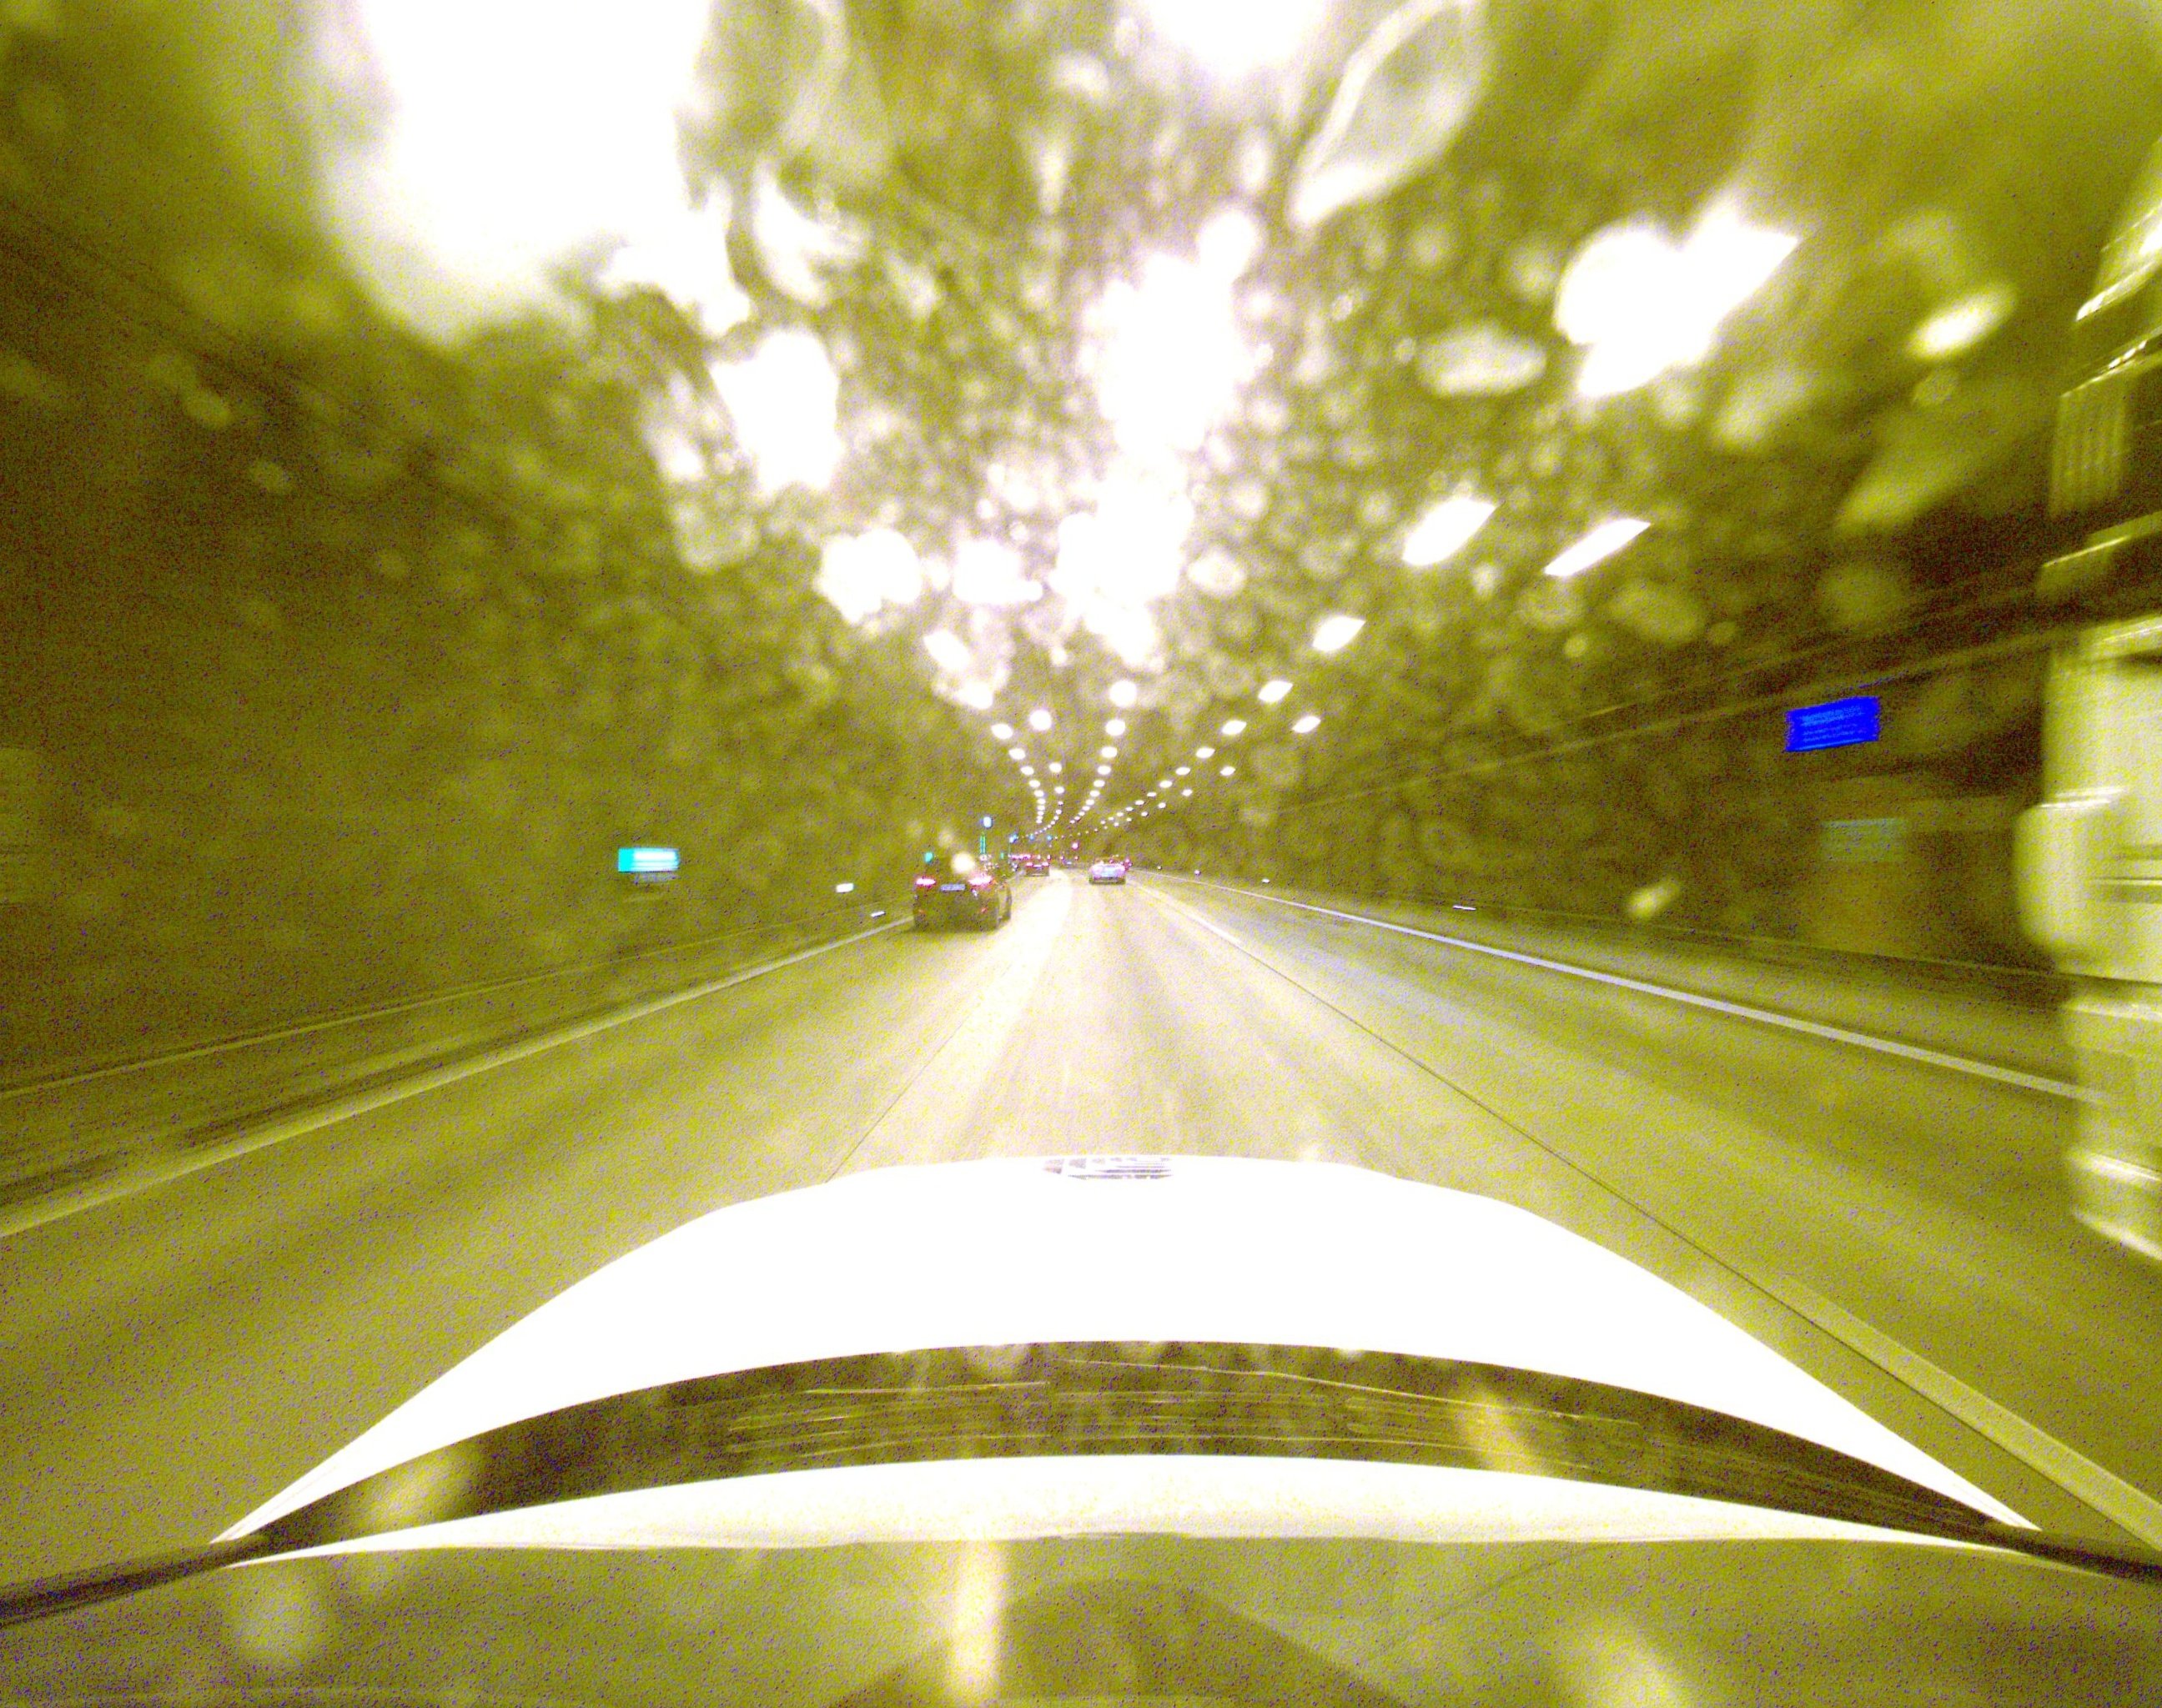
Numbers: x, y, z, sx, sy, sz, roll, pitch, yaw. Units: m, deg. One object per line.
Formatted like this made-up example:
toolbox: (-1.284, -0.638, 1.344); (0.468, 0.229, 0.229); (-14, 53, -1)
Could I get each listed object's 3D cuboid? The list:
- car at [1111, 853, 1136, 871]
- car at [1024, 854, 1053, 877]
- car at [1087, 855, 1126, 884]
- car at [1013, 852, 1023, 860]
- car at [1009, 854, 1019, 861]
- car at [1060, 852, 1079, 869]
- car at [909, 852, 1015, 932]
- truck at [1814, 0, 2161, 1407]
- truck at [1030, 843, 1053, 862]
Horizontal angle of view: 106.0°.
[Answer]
car: (3.838, 0.733, 73.810); (1.835, 1.602, 3.996); (-1, 0, -3)
car: (-3.289, 0.871, 62.423); (1.799, 1.684, 3.989); (-1, 0, -8)
car: (1.333, 0.794, 43.567); (1.987, 1.483, 4.000); (-1, 0, 0)
car: (-14.937, 0.544, 192.867); (1.993, 1.754, 3.987); (0, -1, -9)
car: (-14.275, 0.802, 173.386); (1.994, 1.530, 3.986); (0, -1, -10)
car: (-1.393, 0.730, 95.686); (1.990, 1.972, 3.993); (-1, 0, -5)
car: (-2.559, 0.783, 18.412); (1.779, 1.598, 3.801); (-1, 0, 1)
truck: (4.073, -0.645, 0.117); (2.636, 4.163, 6.007); (0, 0, 2)
truck: (-7.024, -0.302, 143.175); (3.081, 3.113, 10.000); (0, 1, -8)
